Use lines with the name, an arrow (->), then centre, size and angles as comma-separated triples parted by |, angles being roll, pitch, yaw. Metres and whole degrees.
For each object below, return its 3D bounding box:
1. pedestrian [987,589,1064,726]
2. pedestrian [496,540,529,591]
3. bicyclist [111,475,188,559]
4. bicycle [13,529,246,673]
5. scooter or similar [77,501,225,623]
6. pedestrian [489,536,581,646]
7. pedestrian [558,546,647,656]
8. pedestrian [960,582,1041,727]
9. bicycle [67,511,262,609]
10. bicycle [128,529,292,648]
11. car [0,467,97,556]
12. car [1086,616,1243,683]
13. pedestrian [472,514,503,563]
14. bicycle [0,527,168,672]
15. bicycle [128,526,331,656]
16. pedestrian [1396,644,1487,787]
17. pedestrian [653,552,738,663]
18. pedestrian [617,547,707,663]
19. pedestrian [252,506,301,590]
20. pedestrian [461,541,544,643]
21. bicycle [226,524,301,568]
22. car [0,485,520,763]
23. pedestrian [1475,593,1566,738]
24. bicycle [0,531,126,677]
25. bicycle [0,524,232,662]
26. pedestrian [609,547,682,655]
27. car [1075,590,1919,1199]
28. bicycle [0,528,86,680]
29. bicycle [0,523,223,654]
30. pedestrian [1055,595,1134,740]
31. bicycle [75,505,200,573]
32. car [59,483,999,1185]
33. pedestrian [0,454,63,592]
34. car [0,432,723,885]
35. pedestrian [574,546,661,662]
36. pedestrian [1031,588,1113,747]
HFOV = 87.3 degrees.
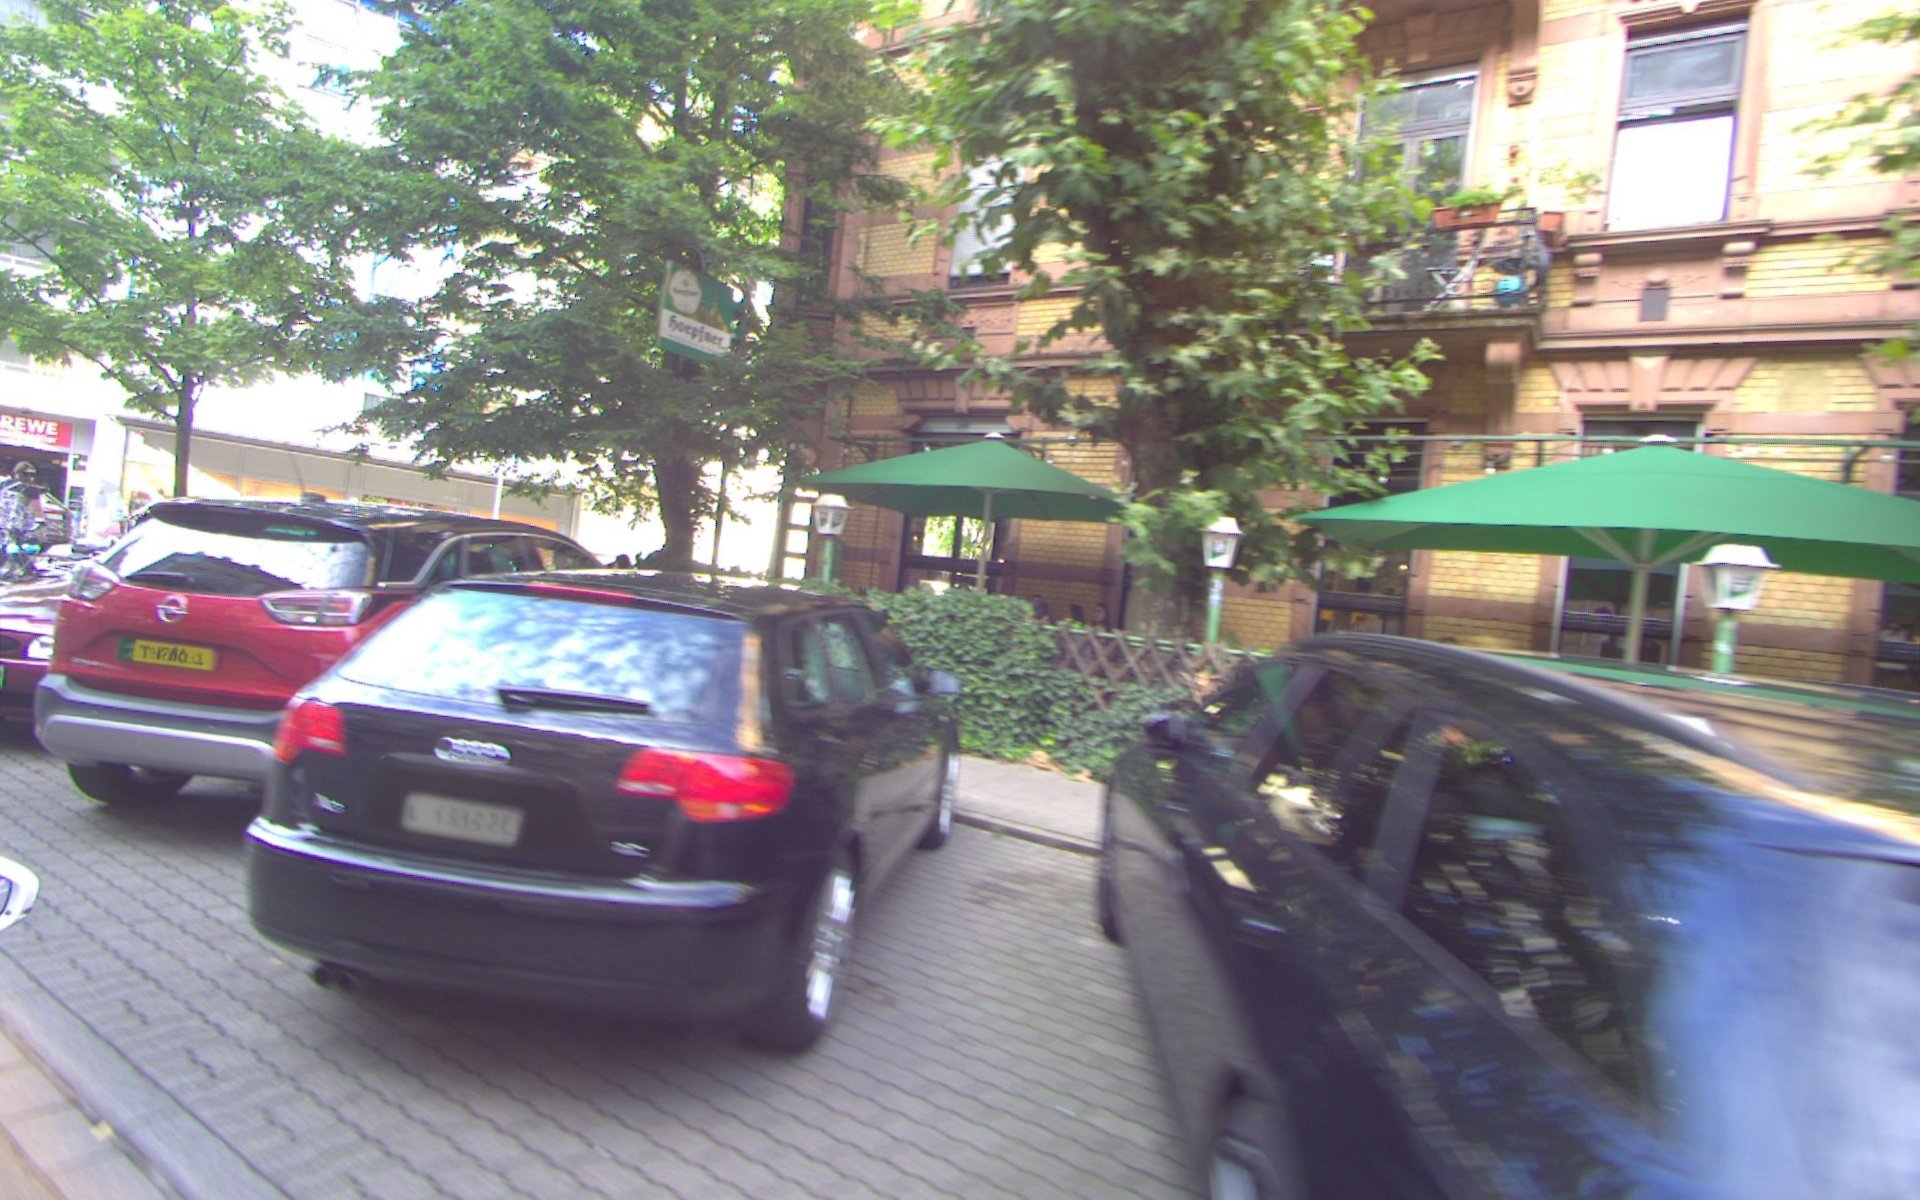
pedestrian -> 0.809, 0.706, 12.382 | 0.560, 1.590, 0.629 | 7, 1, 28
pedestrian -> -14.845, -1.150, 33.365 | 0.742, 1.568, 0.725 | 8, 0, -31
bicyclist -> -17.992, -1.824, 22.352 | 1.003, 1.689, 0.938 | 6, 1, -24
bicycle -> -7.215, -0.002, 8.745 | 1.821, 1.054, 0.347 | 6, 4, 5
scooter or similar -> -9.720, -0.450, 12.149 | 1.236, 1.290, 0.659 | 6, 1, -34
pedestrian -> -5.913, -0.111, 14.024 | 0.690, 1.424, 0.798 | 7, 1, 28
pedestrian -> -4.786, 0.023, 13.487 | 0.745, 1.375, 0.673 | 7, 1, 28
pedestrian -> 0.476, 0.631, 11.765 | 0.560, 1.590, 0.629 | 7, 1, 28
bicycle -> -10.843, -0.518, 13.782 | 0.643, 1.108, 1.924 | 7, 0, 37
bicycle -> -7.654, -0.124, 10.272 | 1.429, 1.054, 0.336 | 6, 4, 3
car -> -21.875, -2.120, 21.497 | 4.762, 1.747, 2.038 | 7, 2, -8
car -> 6.045, 1.445, 30.205 | 1.981, 1.433, 4.385 | 7, 0, -34
pedestrian -> -15.450, -2.003, 32.885 | 0.745, 1.498, 0.581 | 6, 1, -32
bicycle -> -7.749, -0.037, 8.472 | 1.979, 1.054, 0.347 | 6, 4, 5
bicycle -> -7.218, -0.095, 9.947 | 1.764, 1.089, 0.354 | 6, 4, 3
pedestrian -> 4.547, 1.072, 9.542 | 0.638, 1.236, 0.488 | 6, 3, 24
pedestrian -> -3.631, 0.114, 13.828 | 0.745, 1.424, 0.673 | 7, 1, 28
pedestrian -> -3.913, 0.071, 13.241 | 0.745, 1.424, 0.673 | 7, 1, 28
pedestrian -> -15.153, -1.162, 22.308 | 0.765, 1.761, 0.627 | 7, 1, 44
pedestrian -> -6.512, -0.101, 14.338 | 0.586, 1.359, 0.758 | 7, 1, 28
bicycle -> -20.477, -1.573, 29.599 | 1.660, 1.063, 0.456 | 7, 1, -18
car -> -5.300, 0.127, 7.741 | 1.736, 1.475, 3.945 | 7, 0, 4
pedestrian -> 5.114, 0.584, 9.200 | 0.553, 1.236, 0.466 | 6, 3, 23
bicycle -> -7.788, -0.020, 8.080 | 1.822, 1.054, 0.460 | 6, 4, 3
bicycle -> -7.717, -0.073, 9.158 | 1.870, 1.054, 0.444 | 6, 4, 3
pedestrian -> -4.405, 0.021, 14.109 | 0.626, 1.424, 0.574 | 7, 1, 25
car -> 1.484, 0.851, 2.675 | 2.018, 1.476, 4.766 | 7, 2, 4
bicycle -> -7.719, -0.044, 7.581 | 1.822, 1.054, 0.549 | 6, 4, 3
bicycle -> -8.117, -0.117, 9.614 | 1.884, 1.054, 0.389 | 6, 4, 3
pedestrian -> 1.576, 0.782, 11.770 | 0.560, 1.590, 0.629 | 7, 1, 28
bicycle -> -18.177, -1.333, 22.284 | 1.951, 1.214, 0.707 | 7, 0, -26
car -> -1.051, 0.594, 4.690 | 1.906, 1.475, 4.417 | 7, 0, 8
pedestrian -> -12.943, -1.053, 13.654 | 0.773, 1.802, 0.789 | 6, 1, -19
car -> -3.165, 0.173, 6.254 | 1.787, 1.667, 4.352 | 7, 2, 6
pedestrian -> -4.305, 0.056, 12.655 | 0.618, 1.368, 0.670 | 7, 1, 28
pedestrian -> 1.251, 0.734, 11.198 | 0.554, 1.664, 0.646 | 7, 3, 28
